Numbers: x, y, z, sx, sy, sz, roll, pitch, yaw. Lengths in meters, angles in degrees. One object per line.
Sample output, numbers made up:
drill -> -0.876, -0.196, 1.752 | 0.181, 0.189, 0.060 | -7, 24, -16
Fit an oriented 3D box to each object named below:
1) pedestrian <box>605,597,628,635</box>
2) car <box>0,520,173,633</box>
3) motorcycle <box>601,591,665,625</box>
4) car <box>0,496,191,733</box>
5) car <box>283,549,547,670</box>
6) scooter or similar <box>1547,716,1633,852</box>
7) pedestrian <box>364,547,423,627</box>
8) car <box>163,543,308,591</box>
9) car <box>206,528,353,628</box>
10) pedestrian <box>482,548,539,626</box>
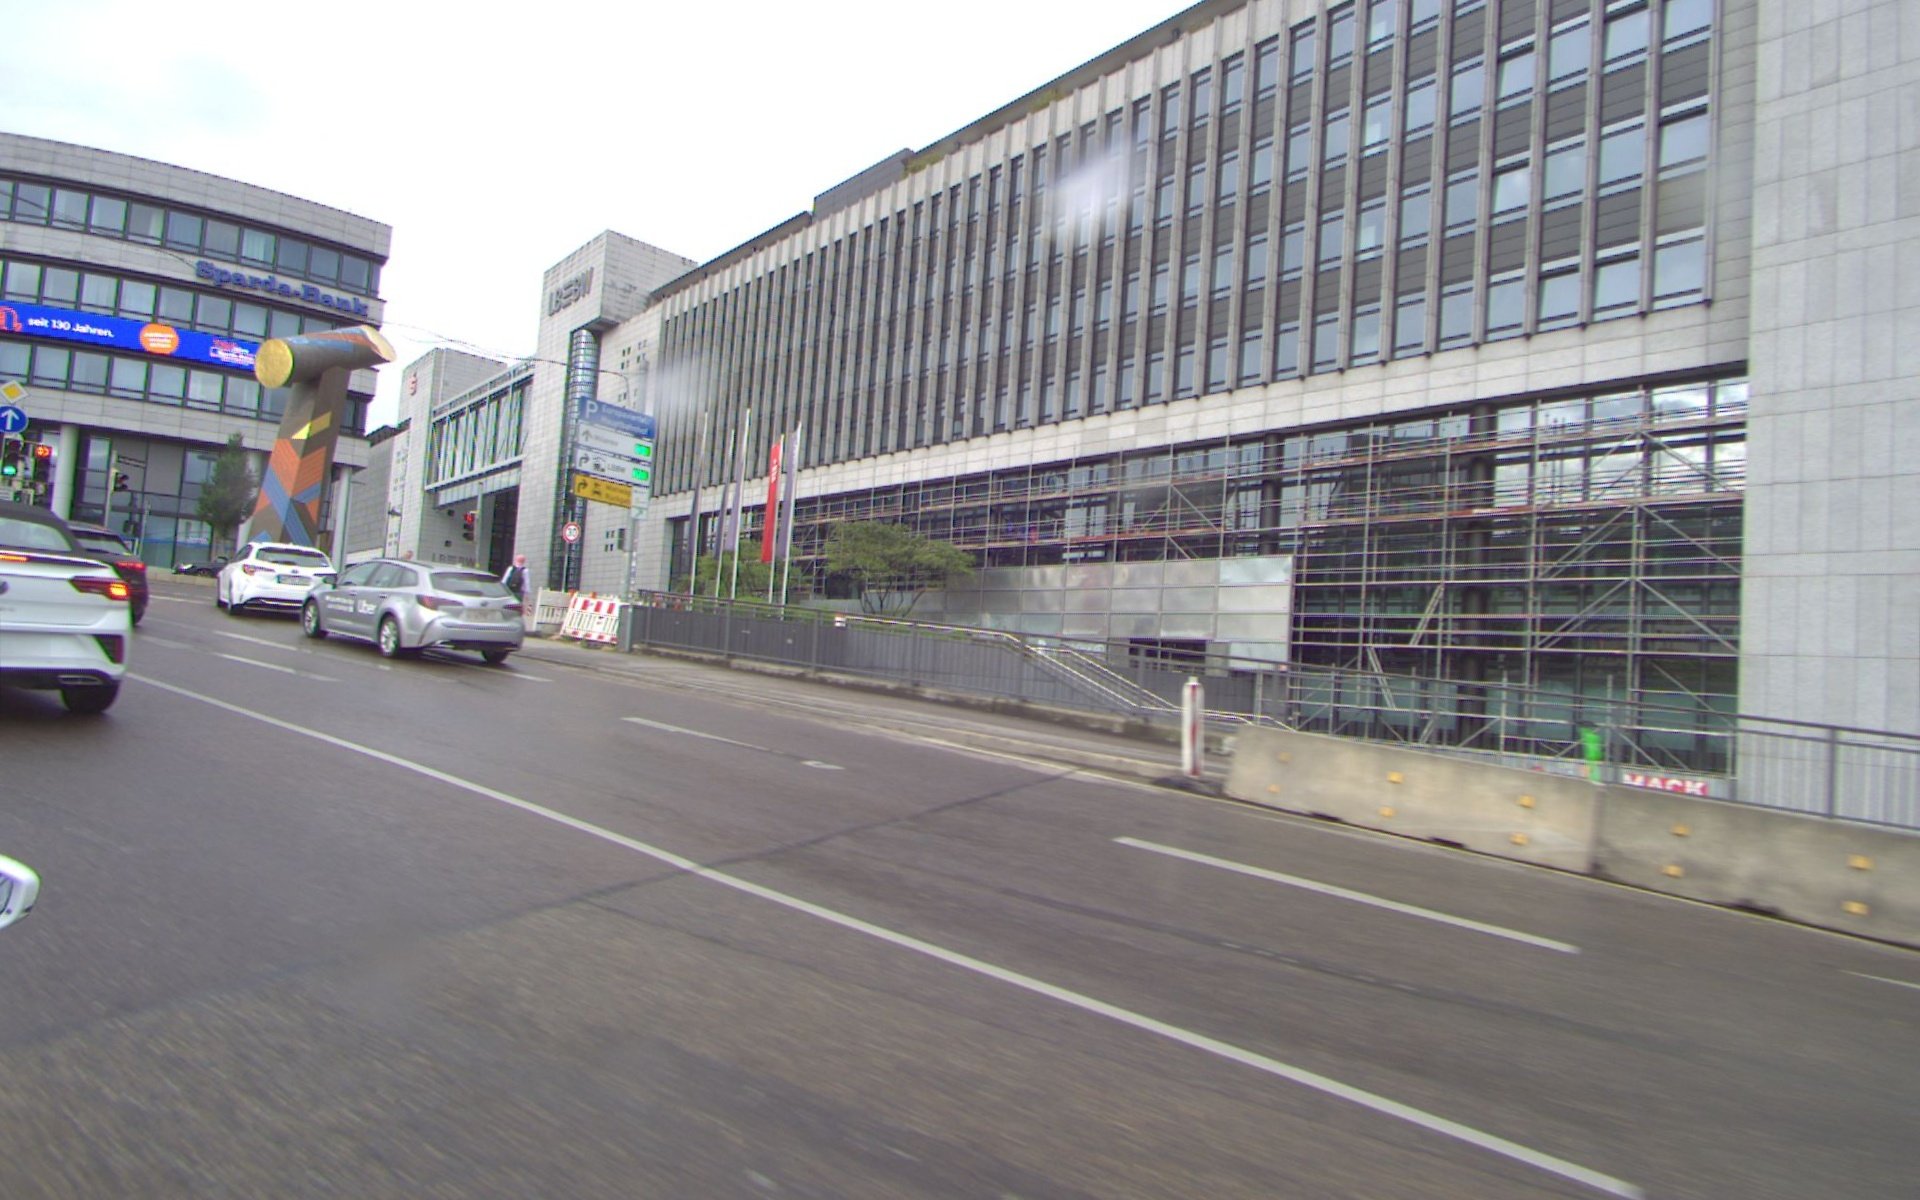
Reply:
pedestrian -> -17.635, 0.812, 51.636 | 0.957, 1.838, 0.777 | 6, -2, -22
car -> -13.453, -0.399, 14.875 | 4.163, 1.425, 1.753 | 4, 1, 36
motorcycle -> -11.529, 0.291, 35.533 | 0.623, 1.095, 2.570 | 6, 1, 20
car -> -8.095, -0.064, 7.806 | 4.150, 1.567, 1.967 | 6, -2, 32
car -> -8.641, 0.113, 15.801 | 4.545, 1.467, 1.702 | 4, -3, 35
scooter or similar -> 5.942, 1.715, 9.494 | 0.565, 1.176, 0.348 | 4, -2, 43
pedestrian -> -16.400, -0.362, 29.148 | 0.887, 2.121, 0.856 | 7, -3, 5
car -> -31.276, -1.392, 43.579 | 1.841, 1.458, 4.699 | 3, -4, 38
car -> -13.962, -0.499, 20.521 | 1.765, 1.653, 4.528 | 8, -2, -42
pedestrian -> -10.522, -0.305, 23.553 | 0.828, 1.730, 0.731 | 4, -2, 27
